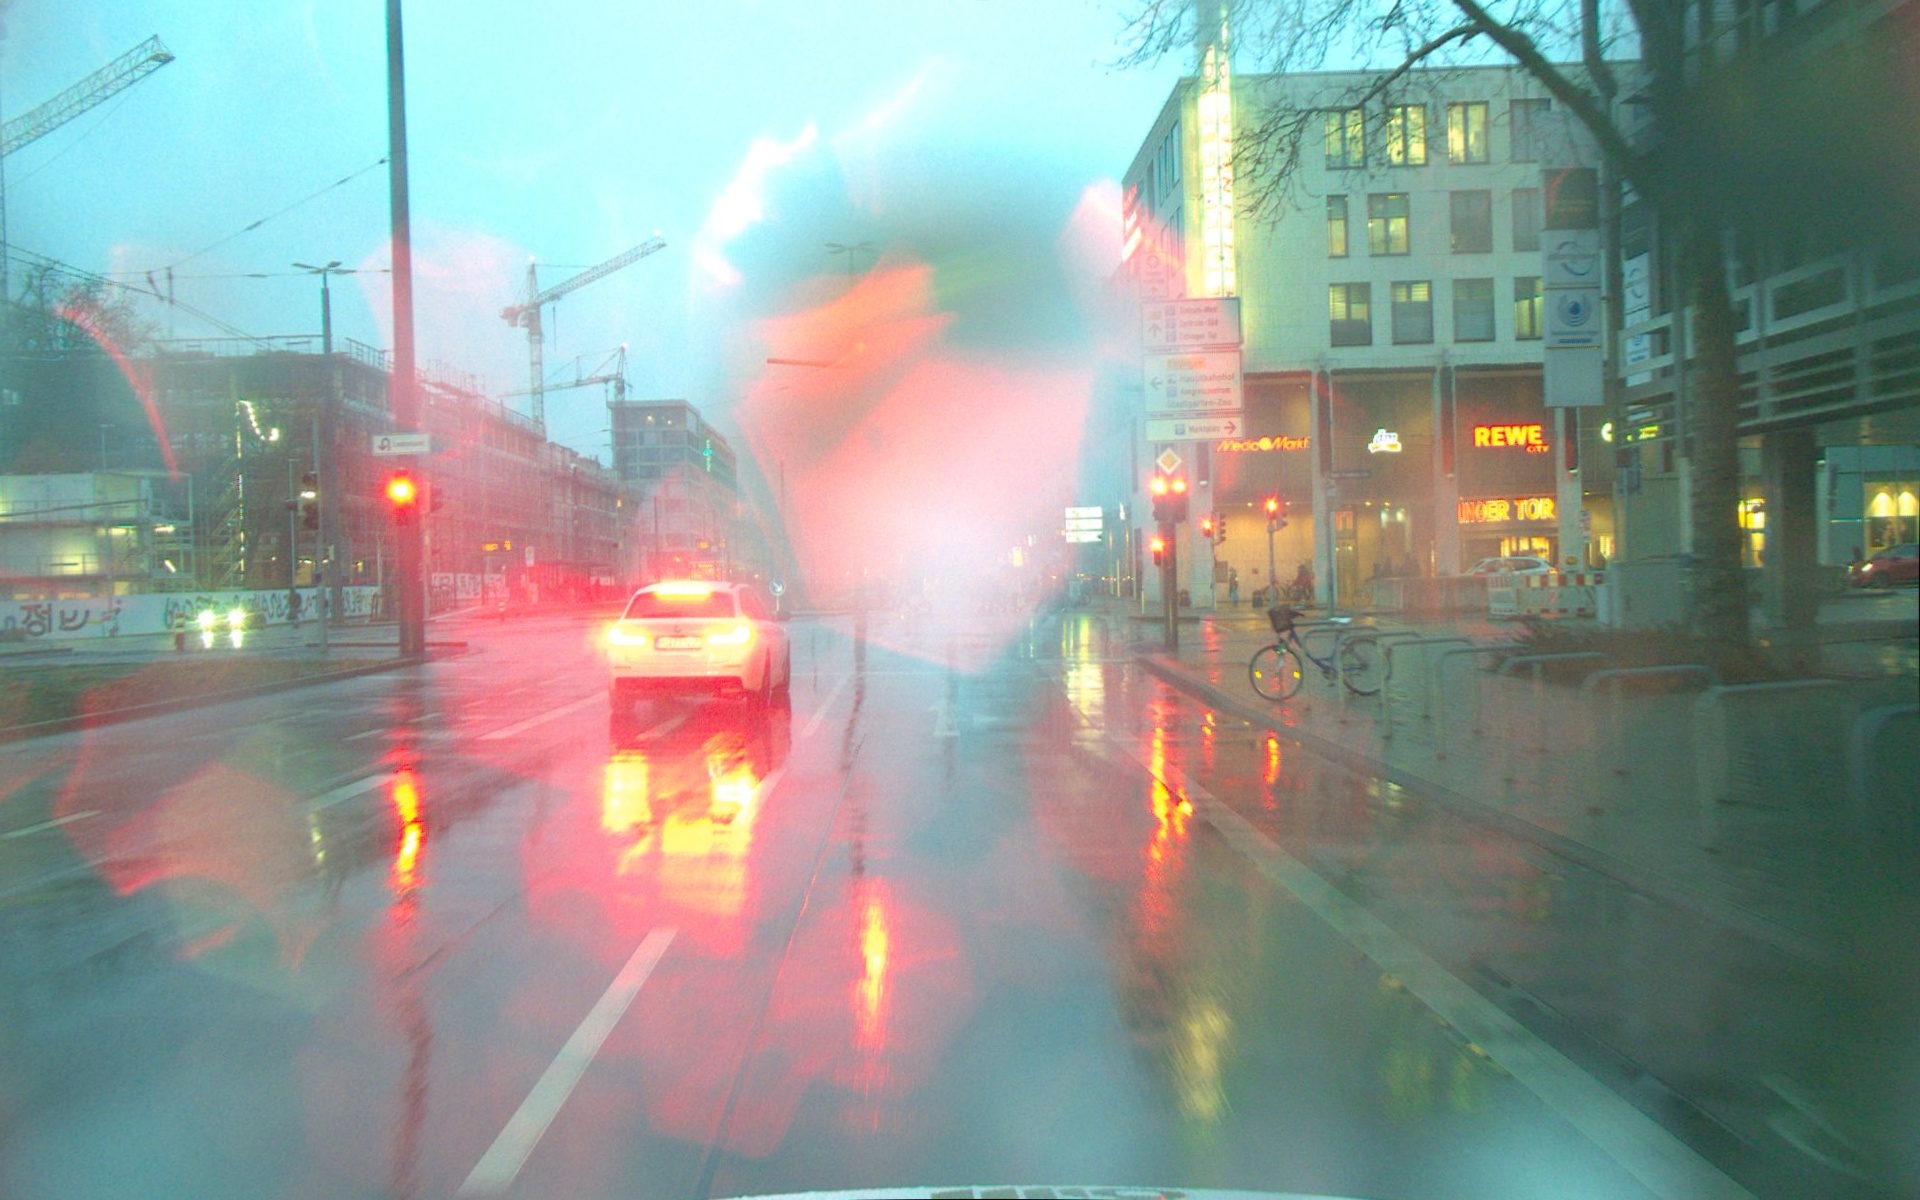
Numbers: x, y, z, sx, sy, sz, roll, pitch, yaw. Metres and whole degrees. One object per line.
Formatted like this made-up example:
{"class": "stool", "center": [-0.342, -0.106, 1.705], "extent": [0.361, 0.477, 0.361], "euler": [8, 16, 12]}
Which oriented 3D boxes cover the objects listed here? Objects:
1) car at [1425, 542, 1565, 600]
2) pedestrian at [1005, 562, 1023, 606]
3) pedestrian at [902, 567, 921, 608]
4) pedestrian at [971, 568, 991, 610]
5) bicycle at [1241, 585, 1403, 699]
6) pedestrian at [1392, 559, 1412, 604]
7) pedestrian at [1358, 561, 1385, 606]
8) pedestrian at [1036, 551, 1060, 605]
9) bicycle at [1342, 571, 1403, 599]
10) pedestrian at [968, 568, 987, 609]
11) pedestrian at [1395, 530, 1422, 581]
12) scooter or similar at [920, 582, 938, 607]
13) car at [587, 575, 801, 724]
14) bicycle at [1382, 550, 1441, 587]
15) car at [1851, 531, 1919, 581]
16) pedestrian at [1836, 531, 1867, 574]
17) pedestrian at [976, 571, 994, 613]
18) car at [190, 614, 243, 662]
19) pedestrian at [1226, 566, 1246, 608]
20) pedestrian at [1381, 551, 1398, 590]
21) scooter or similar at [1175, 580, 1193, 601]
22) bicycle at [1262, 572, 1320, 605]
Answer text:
{"class": "car", "center": [18.250, -0.989, 56.531], "extent": [4.213, 1.792, 1.708], "euler": [-2, 1, 3]}
{"class": "pedestrian", "center": [2.258, -0.670, 68.785], "extent": [0.607, 1.776, 0.612], "euler": [-2, 1, -5]}
{"class": "pedestrian", "center": [-2.061, -0.531, 69.805], "extent": [0.726, 1.696, 0.400], "euler": [-2, 1, -2]}
{"class": "pedestrian", "center": [0.846, -0.444, 66.915], "extent": [0.692, 1.647, 0.613], "euler": [-2, 1, -2]}
{"class": "bicycle", "center": [4.186, 0.478, 19.179], "extent": [1.716, 1.168, 0.435], "euler": [-4, 1, -4]}
{"class": "pedestrian", "center": [17.161, -0.706, 64.206], "extent": [0.526, 1.714, 0.547], "euler": [-2, 1, 38]}
{"class": "pedestrian", "center": [15.008, -0.606, 60.393], "extent": [0.798, 1.597, 0.536], "euler": [-2, 1, 1]}
{"class": "pedestrian", "center": [3.554, -0.892, 66.763], "extent": [0.681, 2.123, 0.604], "euler": [-3, 1, -40]}
{"class": "bicycle", "center": [15.032, -0.547, 60.345], "extent": [2.084, 1.008, 0.541], "euler": [-1, 0, 0]}
{"class": "pedestrian", "center": [0.720, -0.472, 68.593], "extent": [0.692, 1.647, 0.681], "euler": [-2, 1, 2]}
{"class": "pedestrian", "center": [14.628, -1.457, 53.942], "extent": [0.764, 1.623, 0.613], "euler": [-2, 1, 16]}
{"class": "scooter or similar", "center": [-1.317, -0.231, 69.832], "extent": [0.726, 1.010, 0.400], "euler": [-2, 1, -2]}
{"class": "car", "center": [-3.157, 0.508, 20.664], "extent": [1.871, 1.546, 4.923], "euler": [-2, 1, -1]}
{"class": "bicycle", "center": [14.711, -1.035, 53.947], "extent": [1.806, 1.112, 0.618], "euler": [-2, 1, 16]}
{"class": "car", "center": [32.546, -1.542, 56.286], "extent": [3.497, 1.609, 1.676], "euler": [-3, 0, -2]}
{"class": "pedestrian", "center": [34.514, -1.842, 64.047], "extent": [0.778, 1.660, 0.709], "euler": [-1, 0, 0]}
{"class": "pedestrian", "center": [1.079, -0.346, 70.708], "extent": [0.688, 1.790, 0.667], "euler": [-2, 1, 0]}
{"class": "car", "center": [-34.957, 1.758, 77.817], "extent": [1.729, 2.048, 3.980], "euler": [-3, 1, -18]}
{"class": "pedestrian", "center": [11.904, -0.575, 71.369], "extent": [0.688, 1.790, 0.652], "euler": [-2, 1, 0]}
{"class": "pedestrian", "center": [19.478, -1.348, 75.056], "extent": [0.526, 1.747, 0.500], "euler": [-2, 1, 38]}
{"class": "scooter or similar", "center": [9.983, -0.423, 73.658], "extent": [0.725, 0.932, 0.400], "euler": [-2, 1, 2]}
{"class": "bicycle", "center": [14.497, -0.497, 72.467], "extent": [2.378, 1.352, 0.634], "euler": [-2, 1, -5]}
